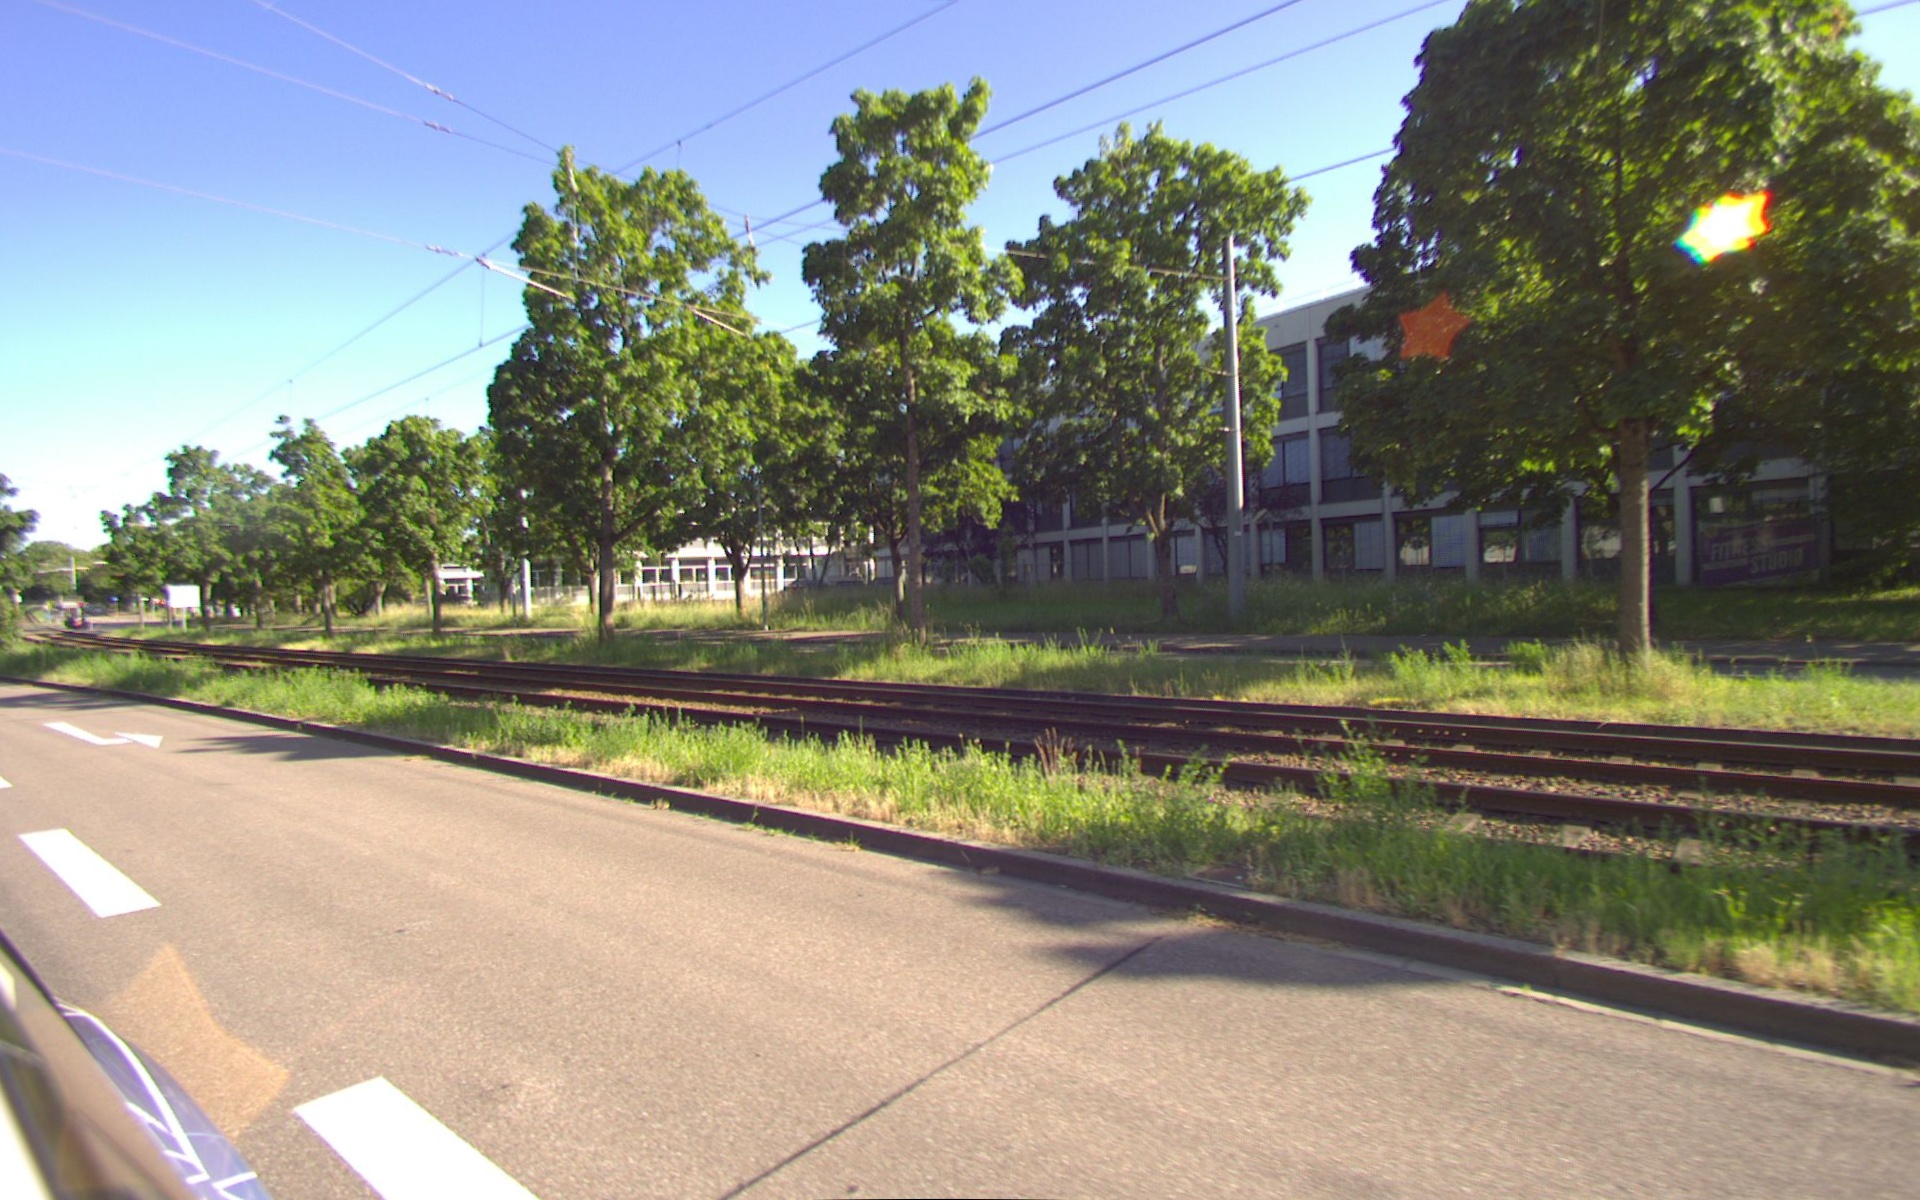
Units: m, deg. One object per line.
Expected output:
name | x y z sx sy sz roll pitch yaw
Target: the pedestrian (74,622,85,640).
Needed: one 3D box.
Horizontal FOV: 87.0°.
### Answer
pedestrian | -89.306 3.131 102.646 0.782 1.764 0.775 -2 1 44
